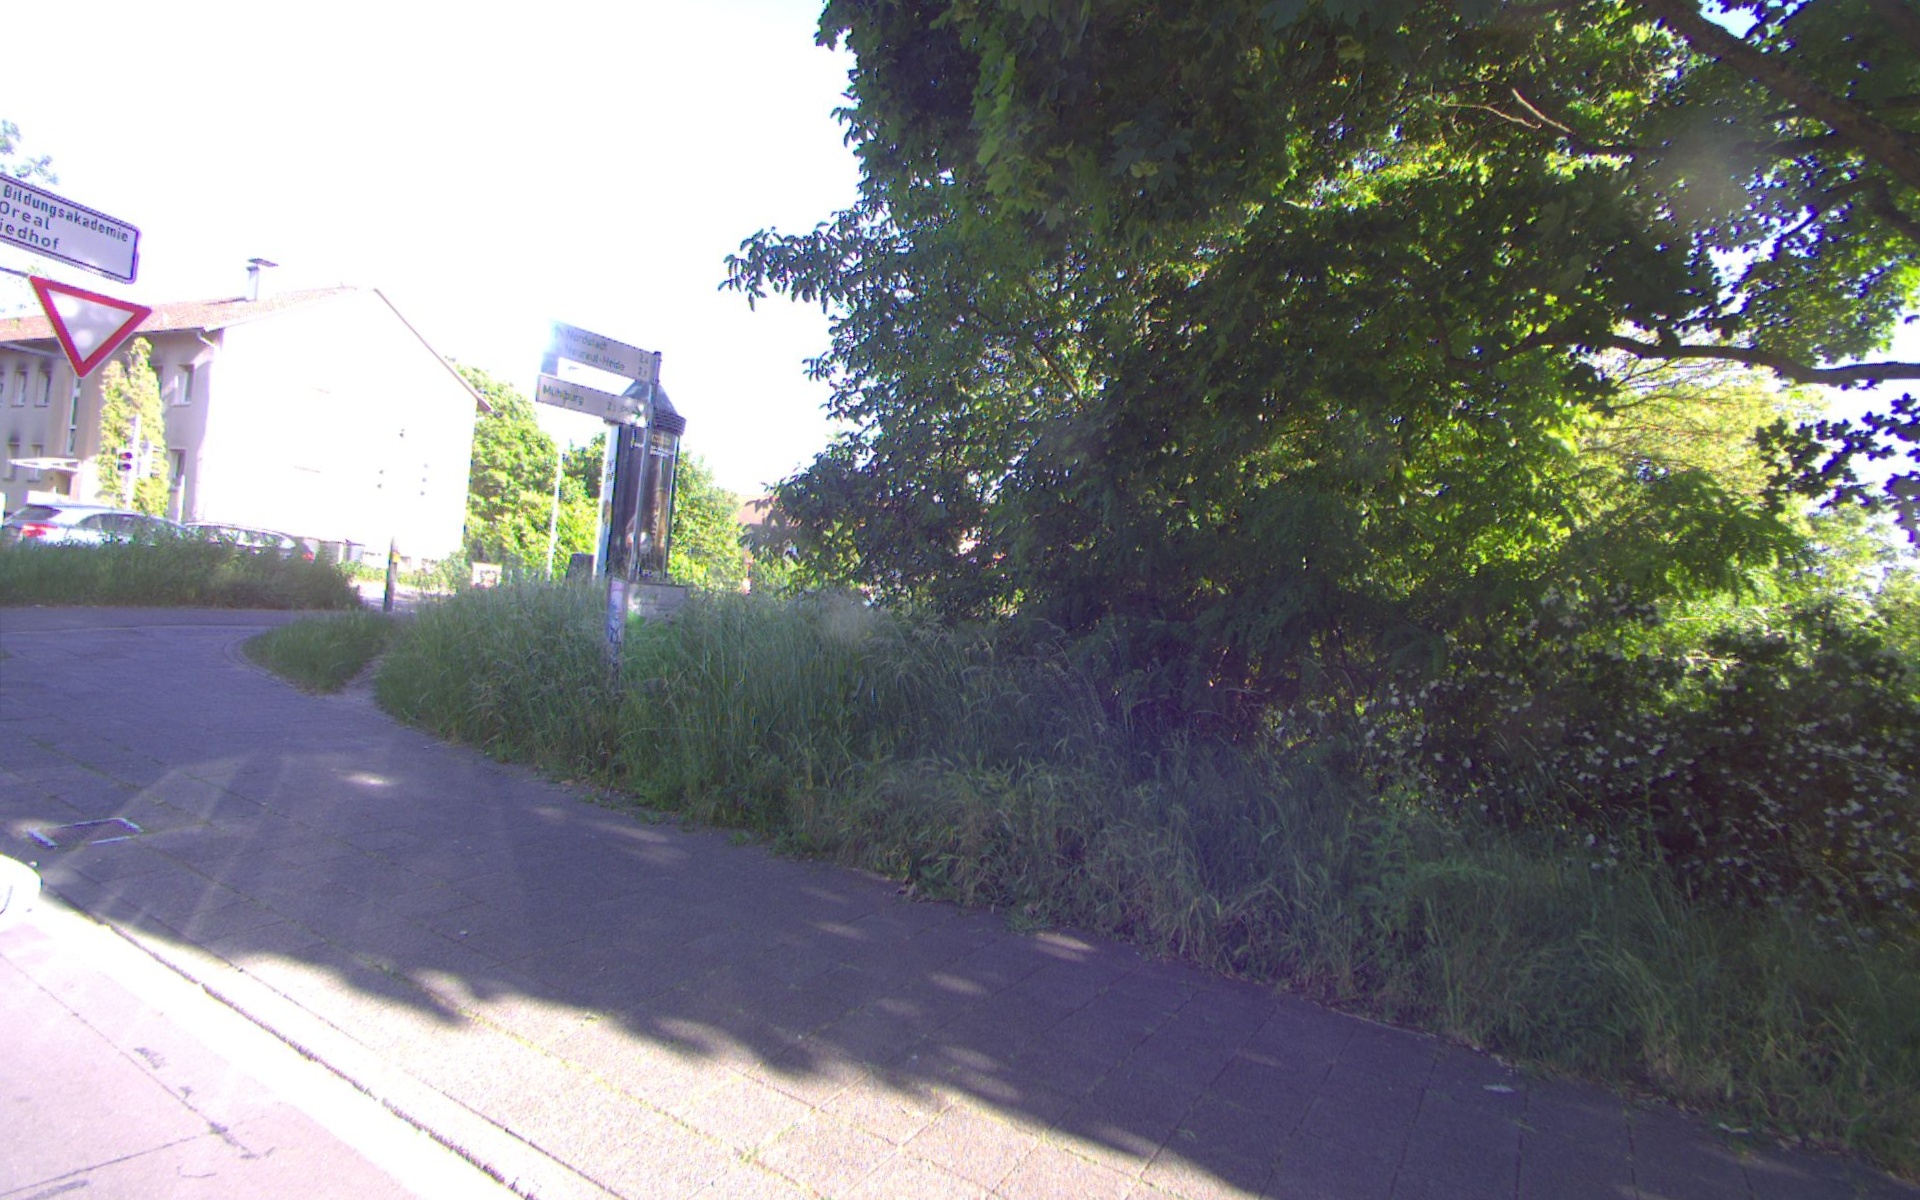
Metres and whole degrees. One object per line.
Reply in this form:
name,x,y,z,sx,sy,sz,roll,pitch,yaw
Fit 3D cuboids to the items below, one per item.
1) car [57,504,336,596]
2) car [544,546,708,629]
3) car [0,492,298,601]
car,-17.662,-1.105,23.559,1.966,1.447,4.736,7,-1,30
car,-9.651,-0.307,29.421,1.827,1.910,4.354,7,0,27
car,-15.331,-0.948,18.984,1.881,1.507,4.290,7,0,29
